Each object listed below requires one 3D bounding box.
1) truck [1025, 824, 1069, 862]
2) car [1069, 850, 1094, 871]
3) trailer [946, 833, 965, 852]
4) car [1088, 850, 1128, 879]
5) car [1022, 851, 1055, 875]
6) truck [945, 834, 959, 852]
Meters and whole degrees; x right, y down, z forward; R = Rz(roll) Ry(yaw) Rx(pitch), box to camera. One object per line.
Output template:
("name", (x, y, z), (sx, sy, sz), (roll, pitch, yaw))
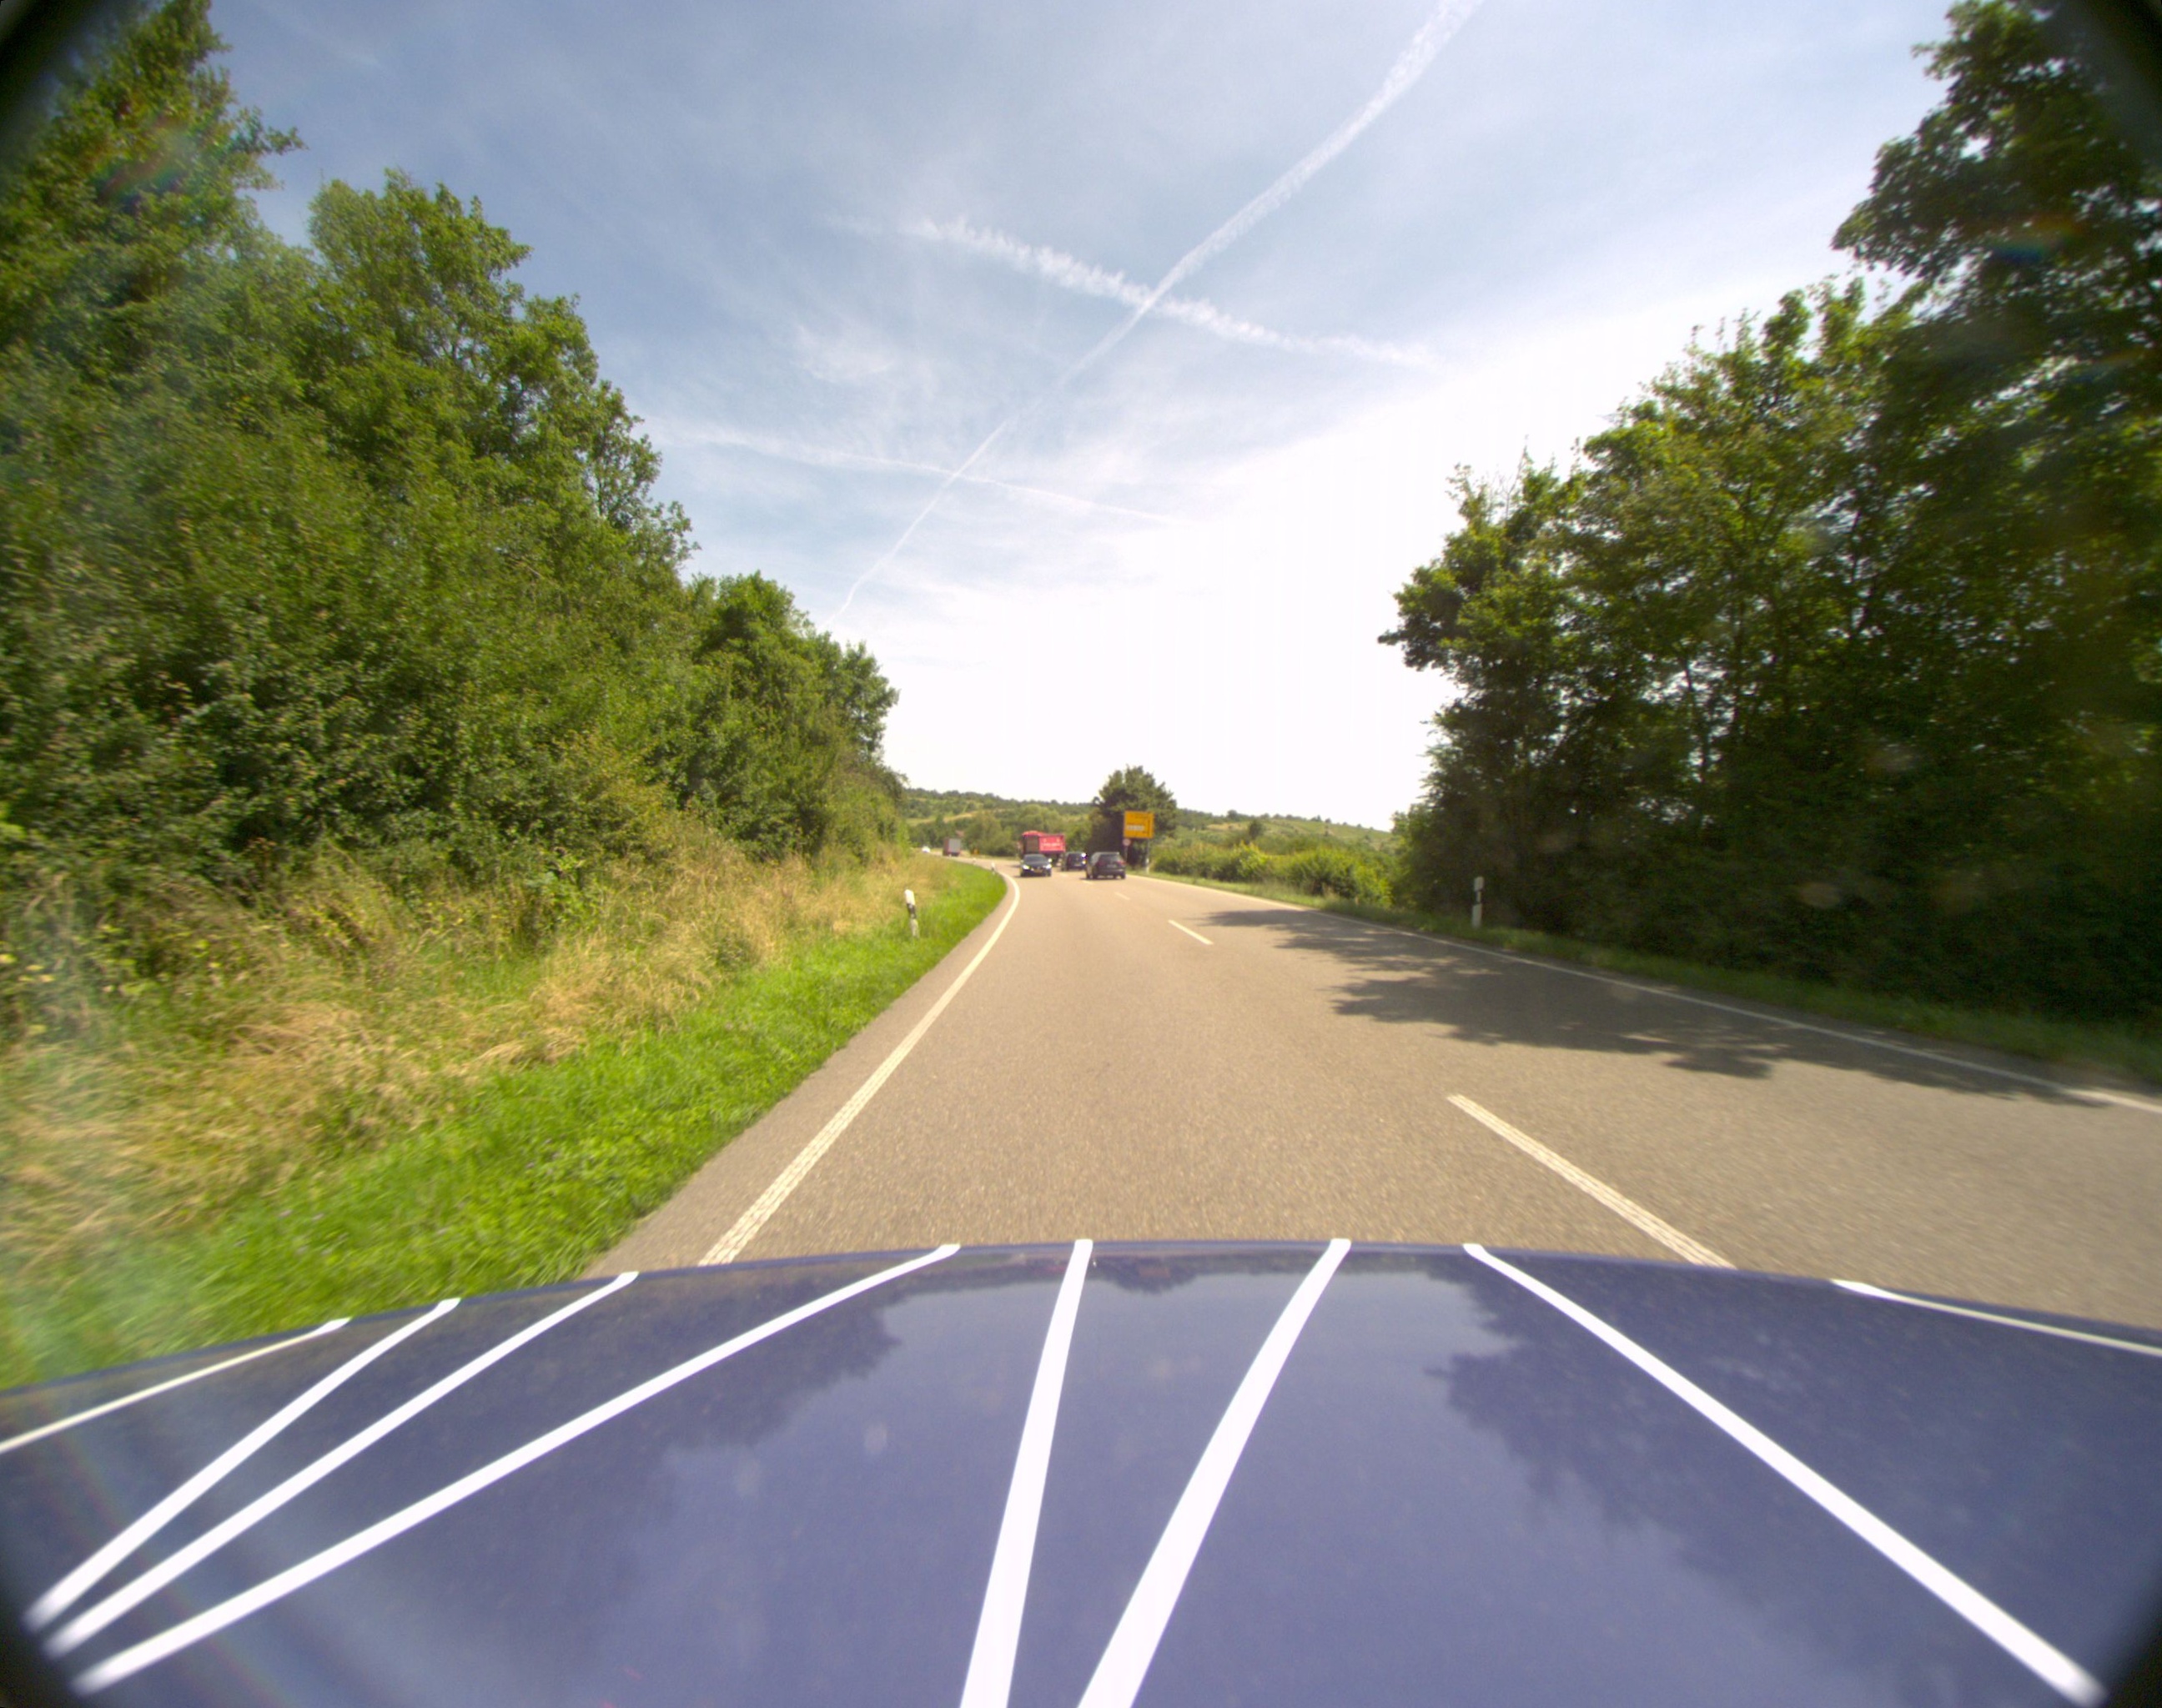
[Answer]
("truck", (-3.595, -1.015, 76.169), (2.561, 3.432, 12.621), (-1, 0, -11))
("car", (0.028, 0.443, 54.541), (1.434, 1.462, 3.270), (-1, 1, -6))
("trailer", (-27.602, -2.494, 166.754), (2.578, 4.084, 13.641), (-1, 1, -16))
("car", (1.453, 0.554, 42.202), (1.714, 1.462, 4.373), (-1, 1, -4))
("car", (-2.776, 0.553, 49.228), (1.786, 1.440, 4.601), (-1, 0, -7))
("truck", (-29.553, -2.552, 173.669), (2.569, 4.092, 5.790), (-1, 1, -16))
